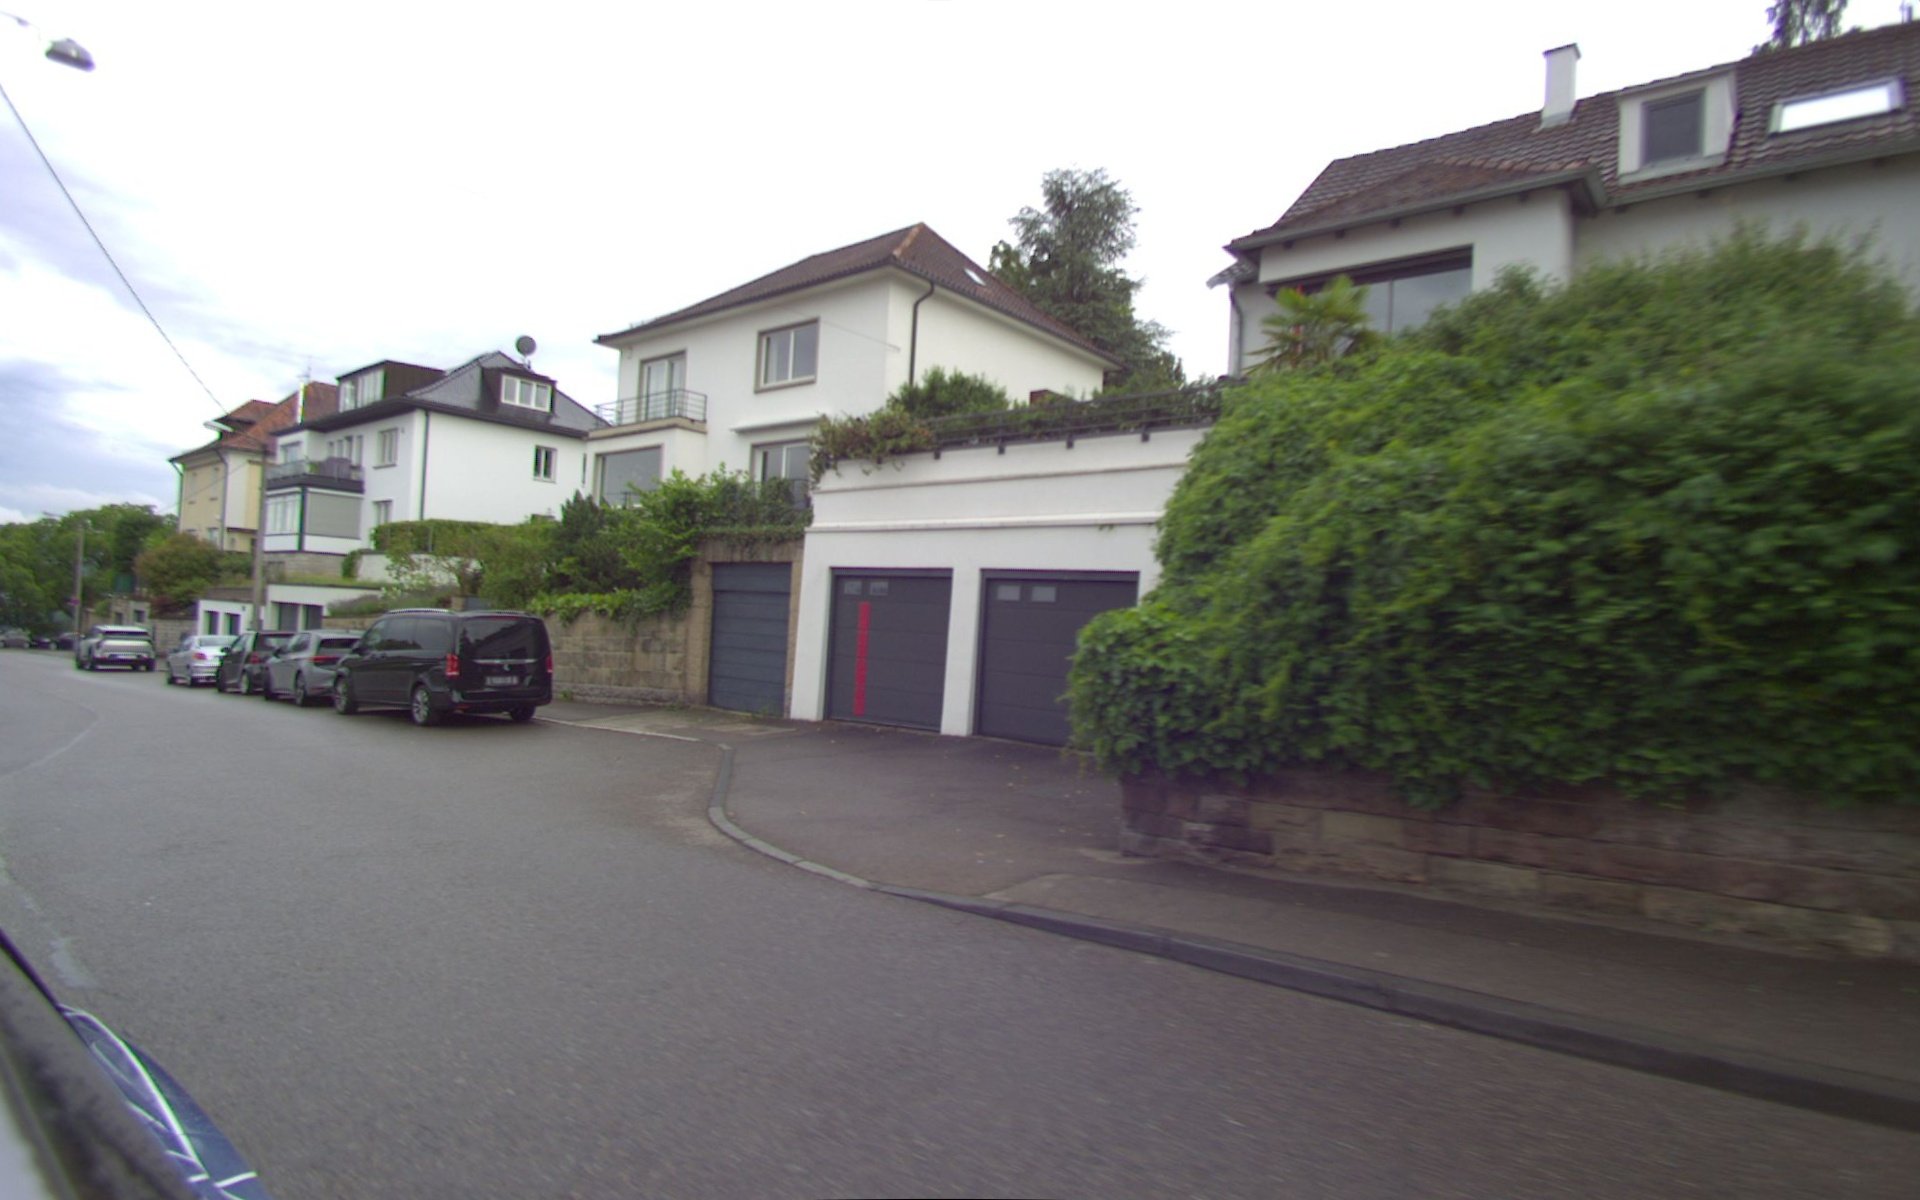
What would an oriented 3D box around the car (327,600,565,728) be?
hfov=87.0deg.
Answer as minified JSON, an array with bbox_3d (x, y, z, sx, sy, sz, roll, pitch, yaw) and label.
[{"bbox_3d":[-9.192,1.058,17.932,4.768,1.972,1.974,-1,-2,39],"label":"car"}]

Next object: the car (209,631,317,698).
[{"bbox_3d":[-17.119,1.532,24.818,2.892,1.502,1.502,-2,-2,41],"label":"car"}]

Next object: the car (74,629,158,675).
[{"bbox_3d":[-30.215,1.824,36.190,4.001,1.512,1.843,-1,-3,44],"label":"car"}]

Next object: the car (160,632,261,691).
[{"bbox_3d":[-20.607,1.638,27.783,3.436,1.502,1.573,-2,-2,42],"label":"car"}]

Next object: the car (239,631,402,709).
[{"bbox_3d":[-13.831,1.430,21.791,4.399,1.502,1.675,-1,-2,40],"label":"car"}]
